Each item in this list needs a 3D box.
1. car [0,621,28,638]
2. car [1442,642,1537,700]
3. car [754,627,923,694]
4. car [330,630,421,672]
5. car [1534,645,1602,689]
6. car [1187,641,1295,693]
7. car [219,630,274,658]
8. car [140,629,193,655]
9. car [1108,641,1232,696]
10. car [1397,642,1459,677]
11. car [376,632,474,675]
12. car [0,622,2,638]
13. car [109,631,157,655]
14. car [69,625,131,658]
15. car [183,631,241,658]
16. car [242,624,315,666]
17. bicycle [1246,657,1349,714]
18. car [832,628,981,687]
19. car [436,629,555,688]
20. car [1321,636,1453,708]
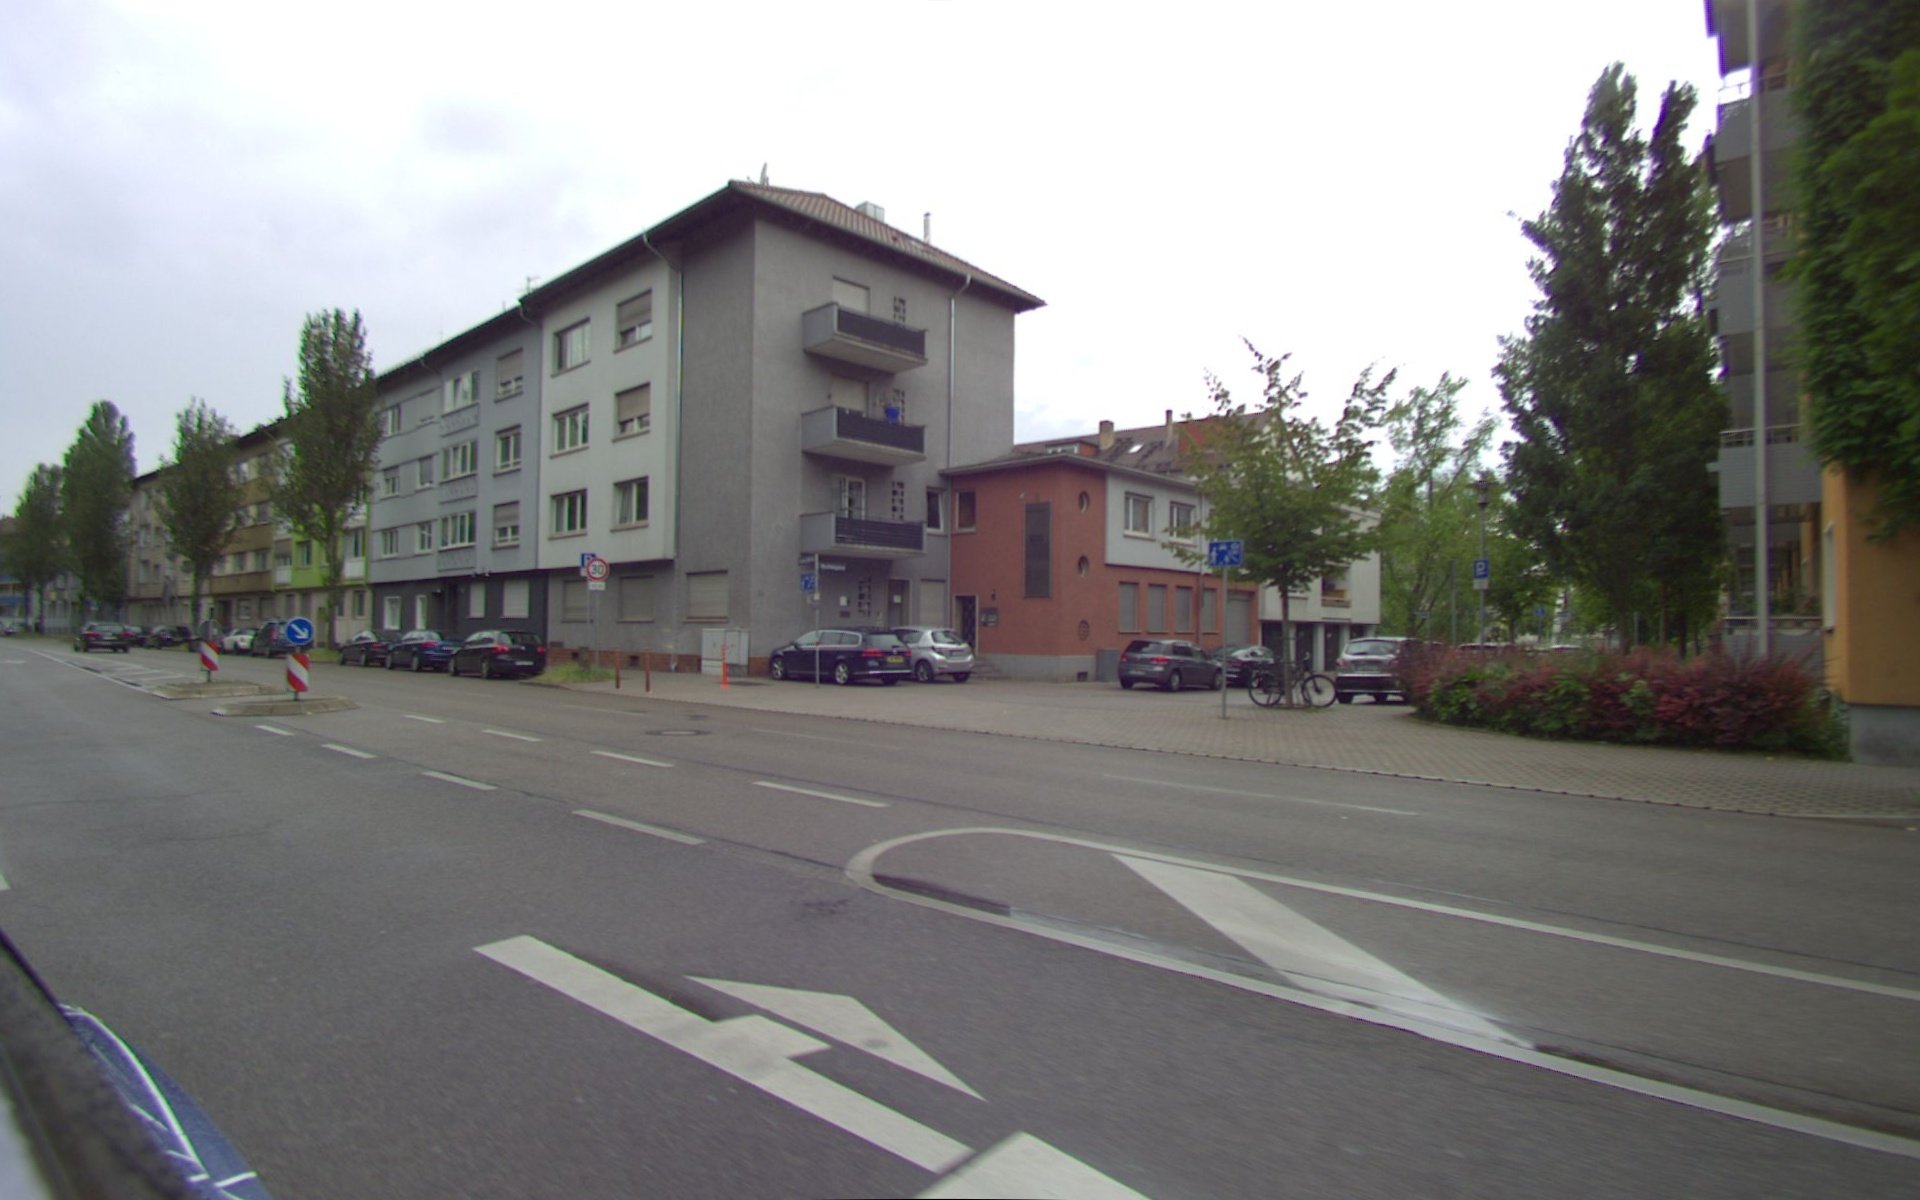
[{"bbox_3d":[-91.740,2.875,97.670,4.166,1.579,1.846,-1,-3,37],"label":"car"},{"bbox_3d":[16.794,2.203,32.011,1.851,1.674,3.798,-1,-3,41],"label":"car"},{"bbox_3d":[-3.242,1.507,26.437,4.635,1.497,1.831,-1,0,43],"label":"car"},{"bbox_3d":[-22.296,1.923,38.528,4.315,1.492,1.703,-2,-5,43],"label":"car"},{"bbox_3d":[25.045,2.732,41.613,1.785,1.728,3.653,-1,-3,41],"label":"car"},{"bbox_3d":[9.300,2.178,33.290,1.924,1.497,3.946,2,-1,40],"label":"car"},{"bbox_3d":[-36.195,2.239,51.324,3.447,1.388,1.526,-3,-5,42],"label":"car"},{"bbox_3d":[-48.997,2.592,62.458,3.998,1.524,1.843,-2,-3,41],"label":"car"},{"bbox_3d":[6.199,1.984,29.643,1.904,1.423,3.946,0,-3,40],"label":"car"},{"bbox_3d":[23.694,2.986,51.211,1.851,1.674,3.798,-1,-3,41],"label":"car"},{"bbox_3d":[-18.316,1.803,34.572,3.926,1.394,1.703,-1,-3,43],"label":"car"},{"bbox_3d":[-100.440,3.063,104.177,4.163,1.579,1.847,-1,-3,35],"label":"car"},{"bbox_3d":[-55.800,2.881,68.268,4.172,1.579,1.843,-2,-3,41],"label":"car"},{"bbox_3d":[-42.463,2.053,49.942,4.290,1.527,1.791,-2,-5,43],"label":"car"},{"bbox_3d":[-40.099,2.378,54.243,4.250,1.356,1.527,-1,-4,41],"label":"car"},{"bbox_3d":[-32.148,2.061,47.679,4.315,1.884,1.879,-1,-2,43],"label":"car"},{"bbox_3d":[6.880,1.728,20.701,1.931,1.066,0.525,-1,-3,35],"label":"bicycle"},{"bbox_3d":[-1.561,1.580,28.440,4.229,1.537,1.711,-1,-3,43],"label":"car"},{"bbox_3d":[-14.118,1.710,30.659,4.248,1.556,1.826,-1,0,44],"label":"car"},{"bbox_3d":[10.459,1.733,24.662,1.900,1.604,3.947,-3,-5,39],"label":"car"}]
